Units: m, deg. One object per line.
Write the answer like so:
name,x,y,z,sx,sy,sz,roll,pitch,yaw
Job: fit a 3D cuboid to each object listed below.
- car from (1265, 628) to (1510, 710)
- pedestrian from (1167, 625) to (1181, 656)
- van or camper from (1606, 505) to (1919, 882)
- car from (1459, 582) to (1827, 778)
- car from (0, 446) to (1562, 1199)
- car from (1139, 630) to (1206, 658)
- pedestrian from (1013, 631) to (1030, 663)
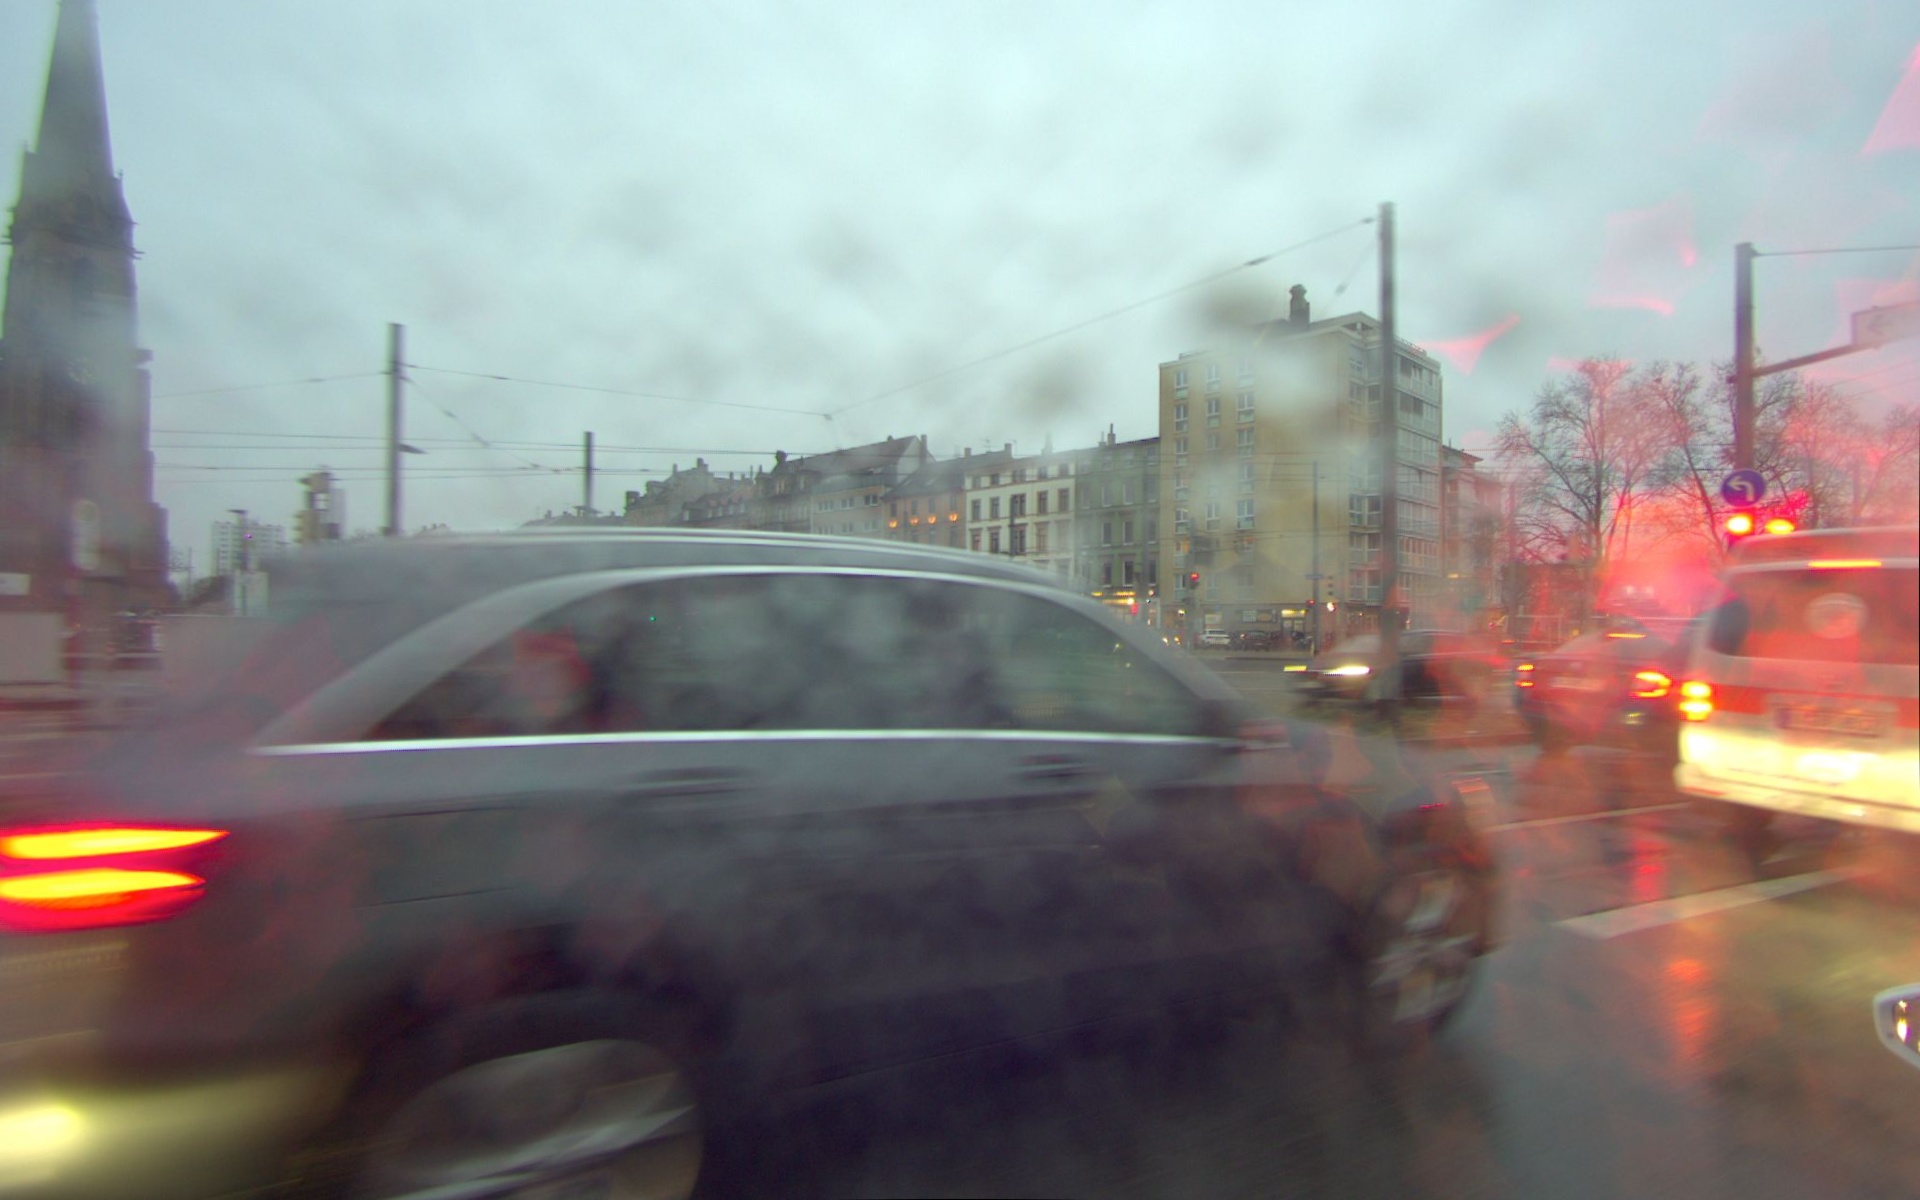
car,8.454,1.318,19.770,4.760,1.438,1.799,2,-1,-27
pedestrian,12.654,2.365,59.445,0.620,1.826,0.570,-1,-2,44
van or camper,7.341,0.588,7.424,4.925,2.137,2.193,2,0,-28
car,7.565,0.790,11.064,3.954,1.795,1.875,2,-1,-31
car,-0.225,0.617,3.216,4.489,1.622,1.776,2,1,-31
car,13.957,2.862,66.111,1.986,1.795,3.949,2,-3,-43
pedestrian,3.310,2.505,53.993,0.686,1.718,0.574,-1,-2,42
